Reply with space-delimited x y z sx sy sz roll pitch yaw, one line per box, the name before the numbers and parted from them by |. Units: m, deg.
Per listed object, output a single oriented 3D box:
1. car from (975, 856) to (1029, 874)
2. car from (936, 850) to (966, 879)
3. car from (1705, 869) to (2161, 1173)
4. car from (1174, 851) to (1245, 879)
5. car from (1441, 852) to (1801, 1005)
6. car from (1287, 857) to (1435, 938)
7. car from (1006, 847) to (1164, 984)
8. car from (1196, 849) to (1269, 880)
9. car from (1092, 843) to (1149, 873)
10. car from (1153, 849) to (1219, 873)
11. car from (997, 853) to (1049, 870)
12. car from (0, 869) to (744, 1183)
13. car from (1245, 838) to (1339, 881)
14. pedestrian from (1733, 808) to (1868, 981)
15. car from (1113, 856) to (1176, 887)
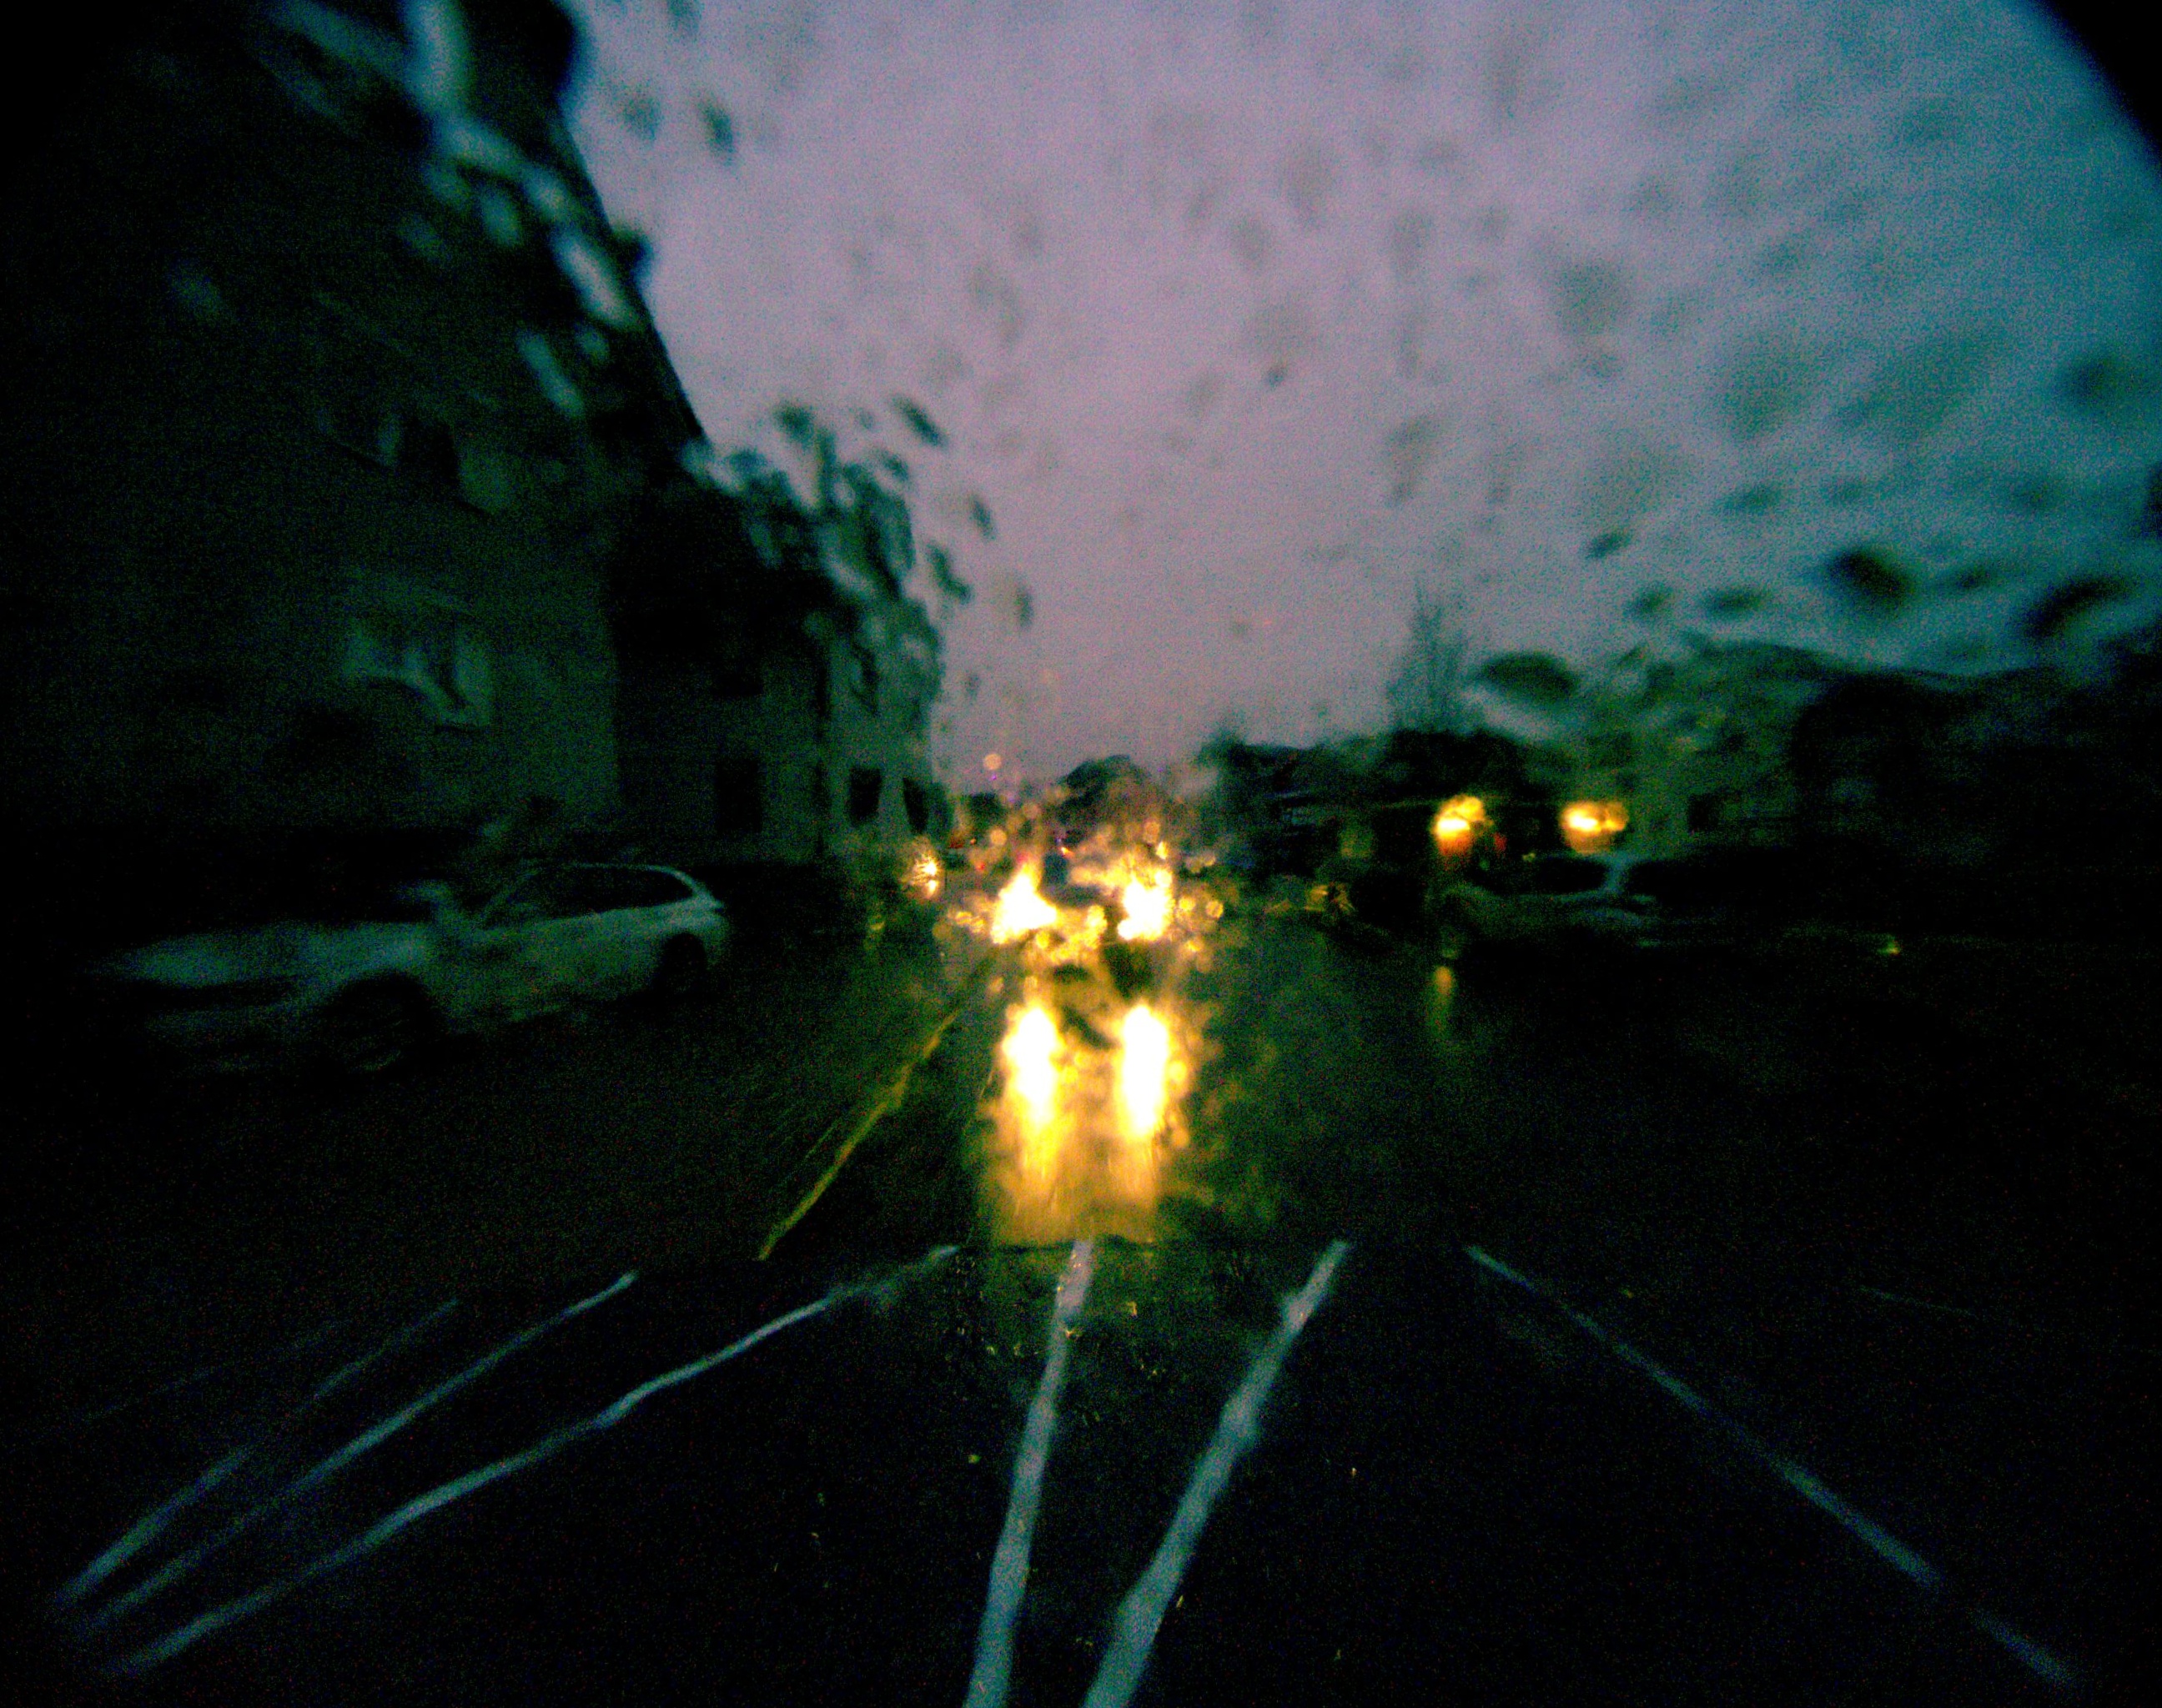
car | -6.584 0.875 63.181 4.005 1.291 1.996 -2 1 -25
car | -9.734 0.756 56.860 2.000 2.002 3.996 -2 0 -12
car | 6.287 0.870 4.450 1.698 1.423 4.377 -2 0 1
car | 7.630 0.639 44.968 3.994 1.538 2.001 -2 1 11
car | 6.575 0.781 9.835 1.880 1.526 3.670 -2 0 -4
car | 6.219 0.894 17.407 1.840 1.526 4.139 -2 0 0
car | 0.070 0.798 11.953 1.998 1.720 4.000 -2 0 0
car | 8.365 0.583 42.309 3.839 1.537 2.001 -2 1 8
car | 2.812 0.254 54.768 3.996 2.002 2.000 -2 1 1
car | 6.605 0.425 47.935 3.995 1.291 2.001 -2 0 6
car | -5.181 0.653 68.113 4.249 1.291 1.997 -2 0 -18
car | -5.130 0.954 6.331 1.933 1.476 4.699 -2 0 9
car | 9.574 0.242 34.619 3.993 1.753 1.435 -2 1 15
pedestrian | 8.736 0.476 9.269 0.902 2.002 0.791 -1 0 10
car | 3.149 0.857 38.415 1.983 1.438 3.909 -2 0 -13
